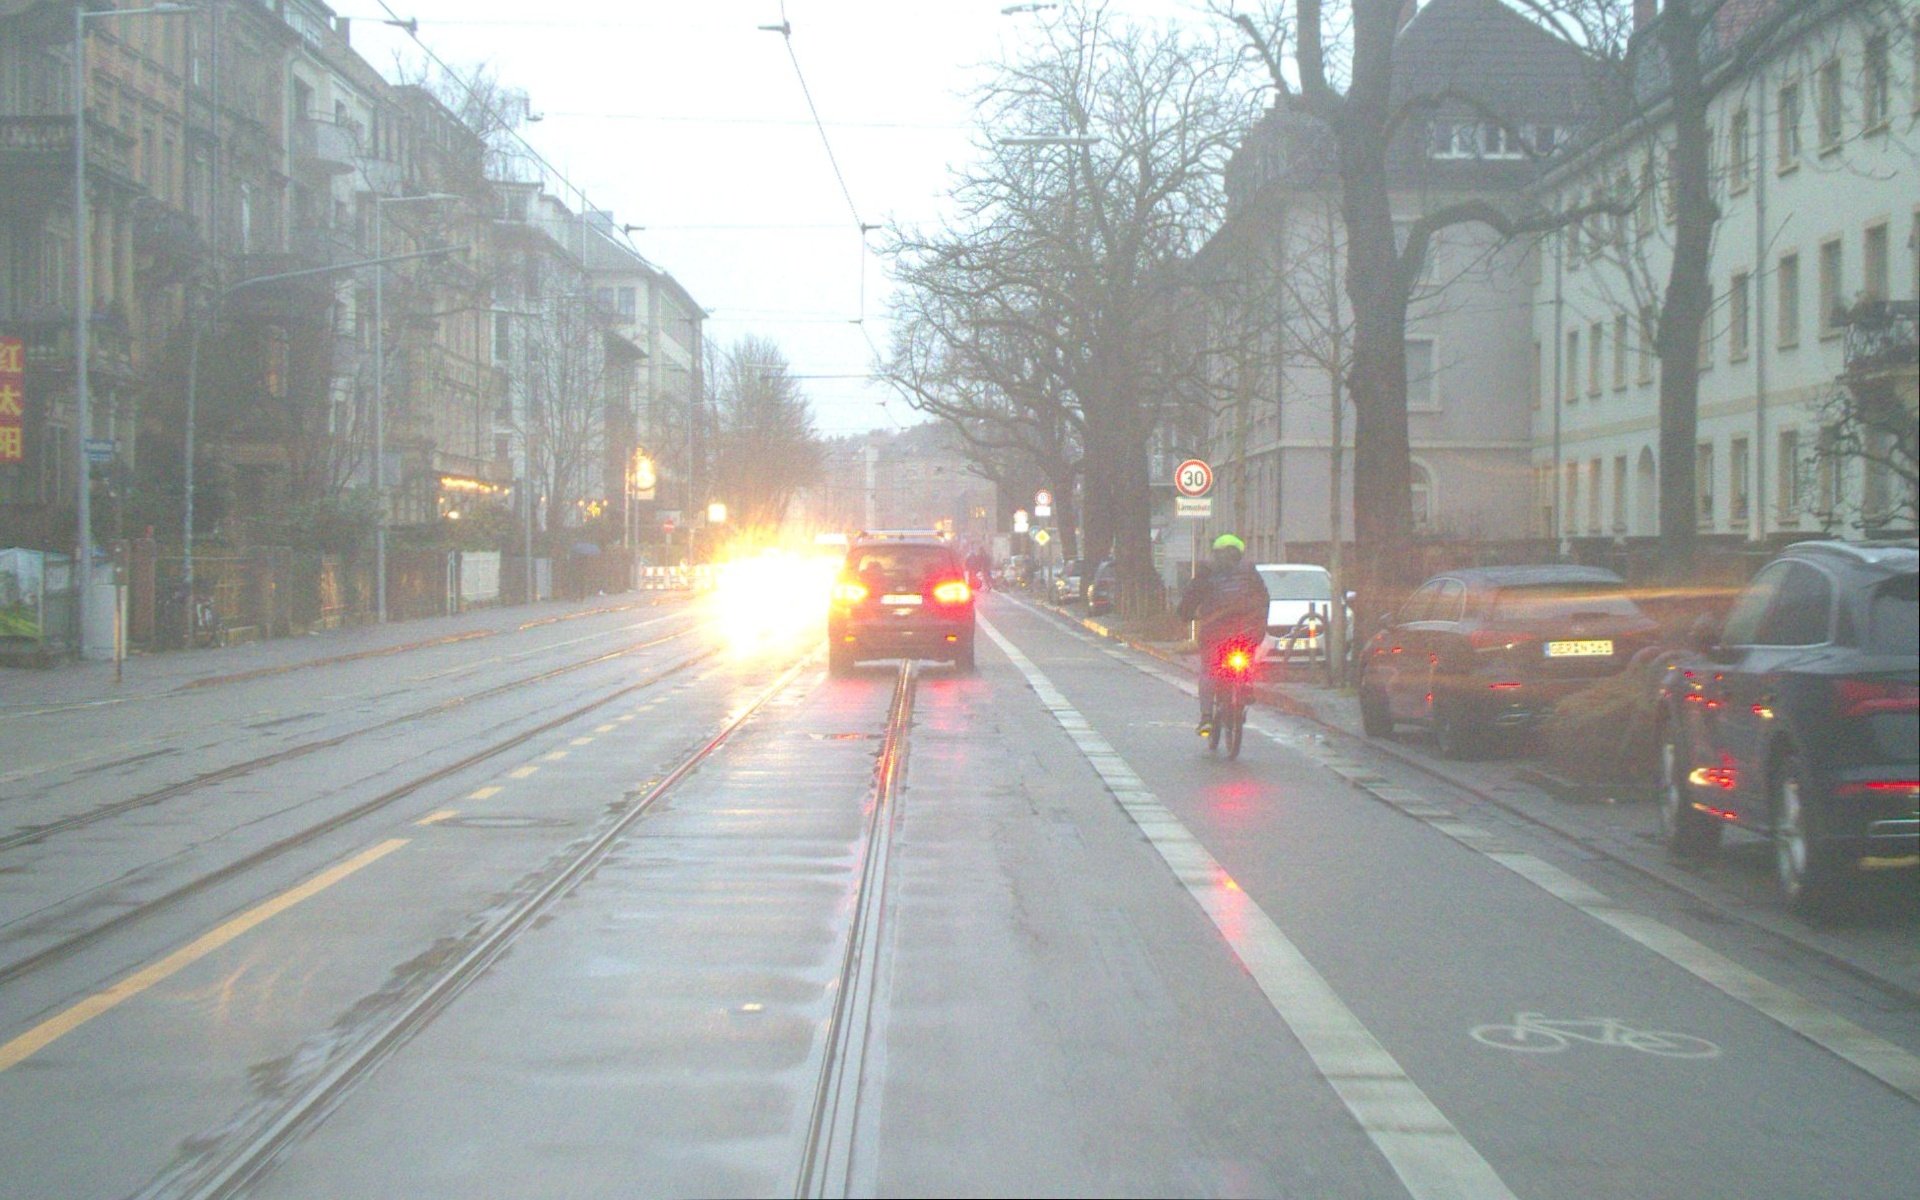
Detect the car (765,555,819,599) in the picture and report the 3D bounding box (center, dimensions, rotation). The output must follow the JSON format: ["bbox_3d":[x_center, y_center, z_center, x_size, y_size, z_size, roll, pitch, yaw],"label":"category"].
[{"bbox_3d":[-6.461,-0.905,132.633,1.923,1.656,4.000,1,1,-1],"label":"car"}]

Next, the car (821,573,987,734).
[{"bbox_3d":[-0.675,0.645,44.550,1.802,1.864,4.018,4,1,2],"label":"car"}]

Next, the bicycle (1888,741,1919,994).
[{"bbox_3d":[4.535,1.007,12.852,2.014,0.913,0.464,0,1,9],"label":"bicycle"}]

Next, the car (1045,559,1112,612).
[{"bbox_3d":[3.475,-0.434,101.472,1.785,1.504,4.108,1,1,0],"label":"car"}]

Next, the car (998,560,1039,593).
[{"bbox_3d":[2.714,-1.103,160.230,1.785,1.504,4.108,1,1,0],"label":"car"}]

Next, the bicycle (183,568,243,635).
[{"bbox_3d":[-11.513,0.014,53.031,0.496,1.003,1.764,1,1,1],"label":"bicycle"}]

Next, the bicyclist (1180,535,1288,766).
[{"bbox_3d":[2.089,0.378,26.312,0.730,1.730,0.765,1,0,1],"label":"bicyclist"}]

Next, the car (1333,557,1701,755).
[{"bbox_3d":[4.308,0.381,27.280,1.878,1.415,4.345,-1,1,-5],"label":"car"}]

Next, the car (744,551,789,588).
[{"bbox_3d":[-9.197,-1.475,163.774,1.923,1.714,4.000,1,1,-1],"label":"car"}]

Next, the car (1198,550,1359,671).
[{"bbox_3d":[4.178,0.112,45.597,1.785,1.504,4.108,1,1,1],"label":"car"}]

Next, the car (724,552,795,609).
[{"bbox_3d":[-6.076,-0.604,104.601,1.923,1.656,4.000,1,1,-1],"label":"car"}]

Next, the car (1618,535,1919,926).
[{"bbox_3d":[4.523,0.525,16.455,1.905,1.604,4.561,1,1,1],"label":"car"}]

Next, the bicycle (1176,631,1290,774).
[{"bbox_3d":[2.078,0.769,26.383,0.731,1.003,1.764,1,1,1],"label":"bicycle"}]
